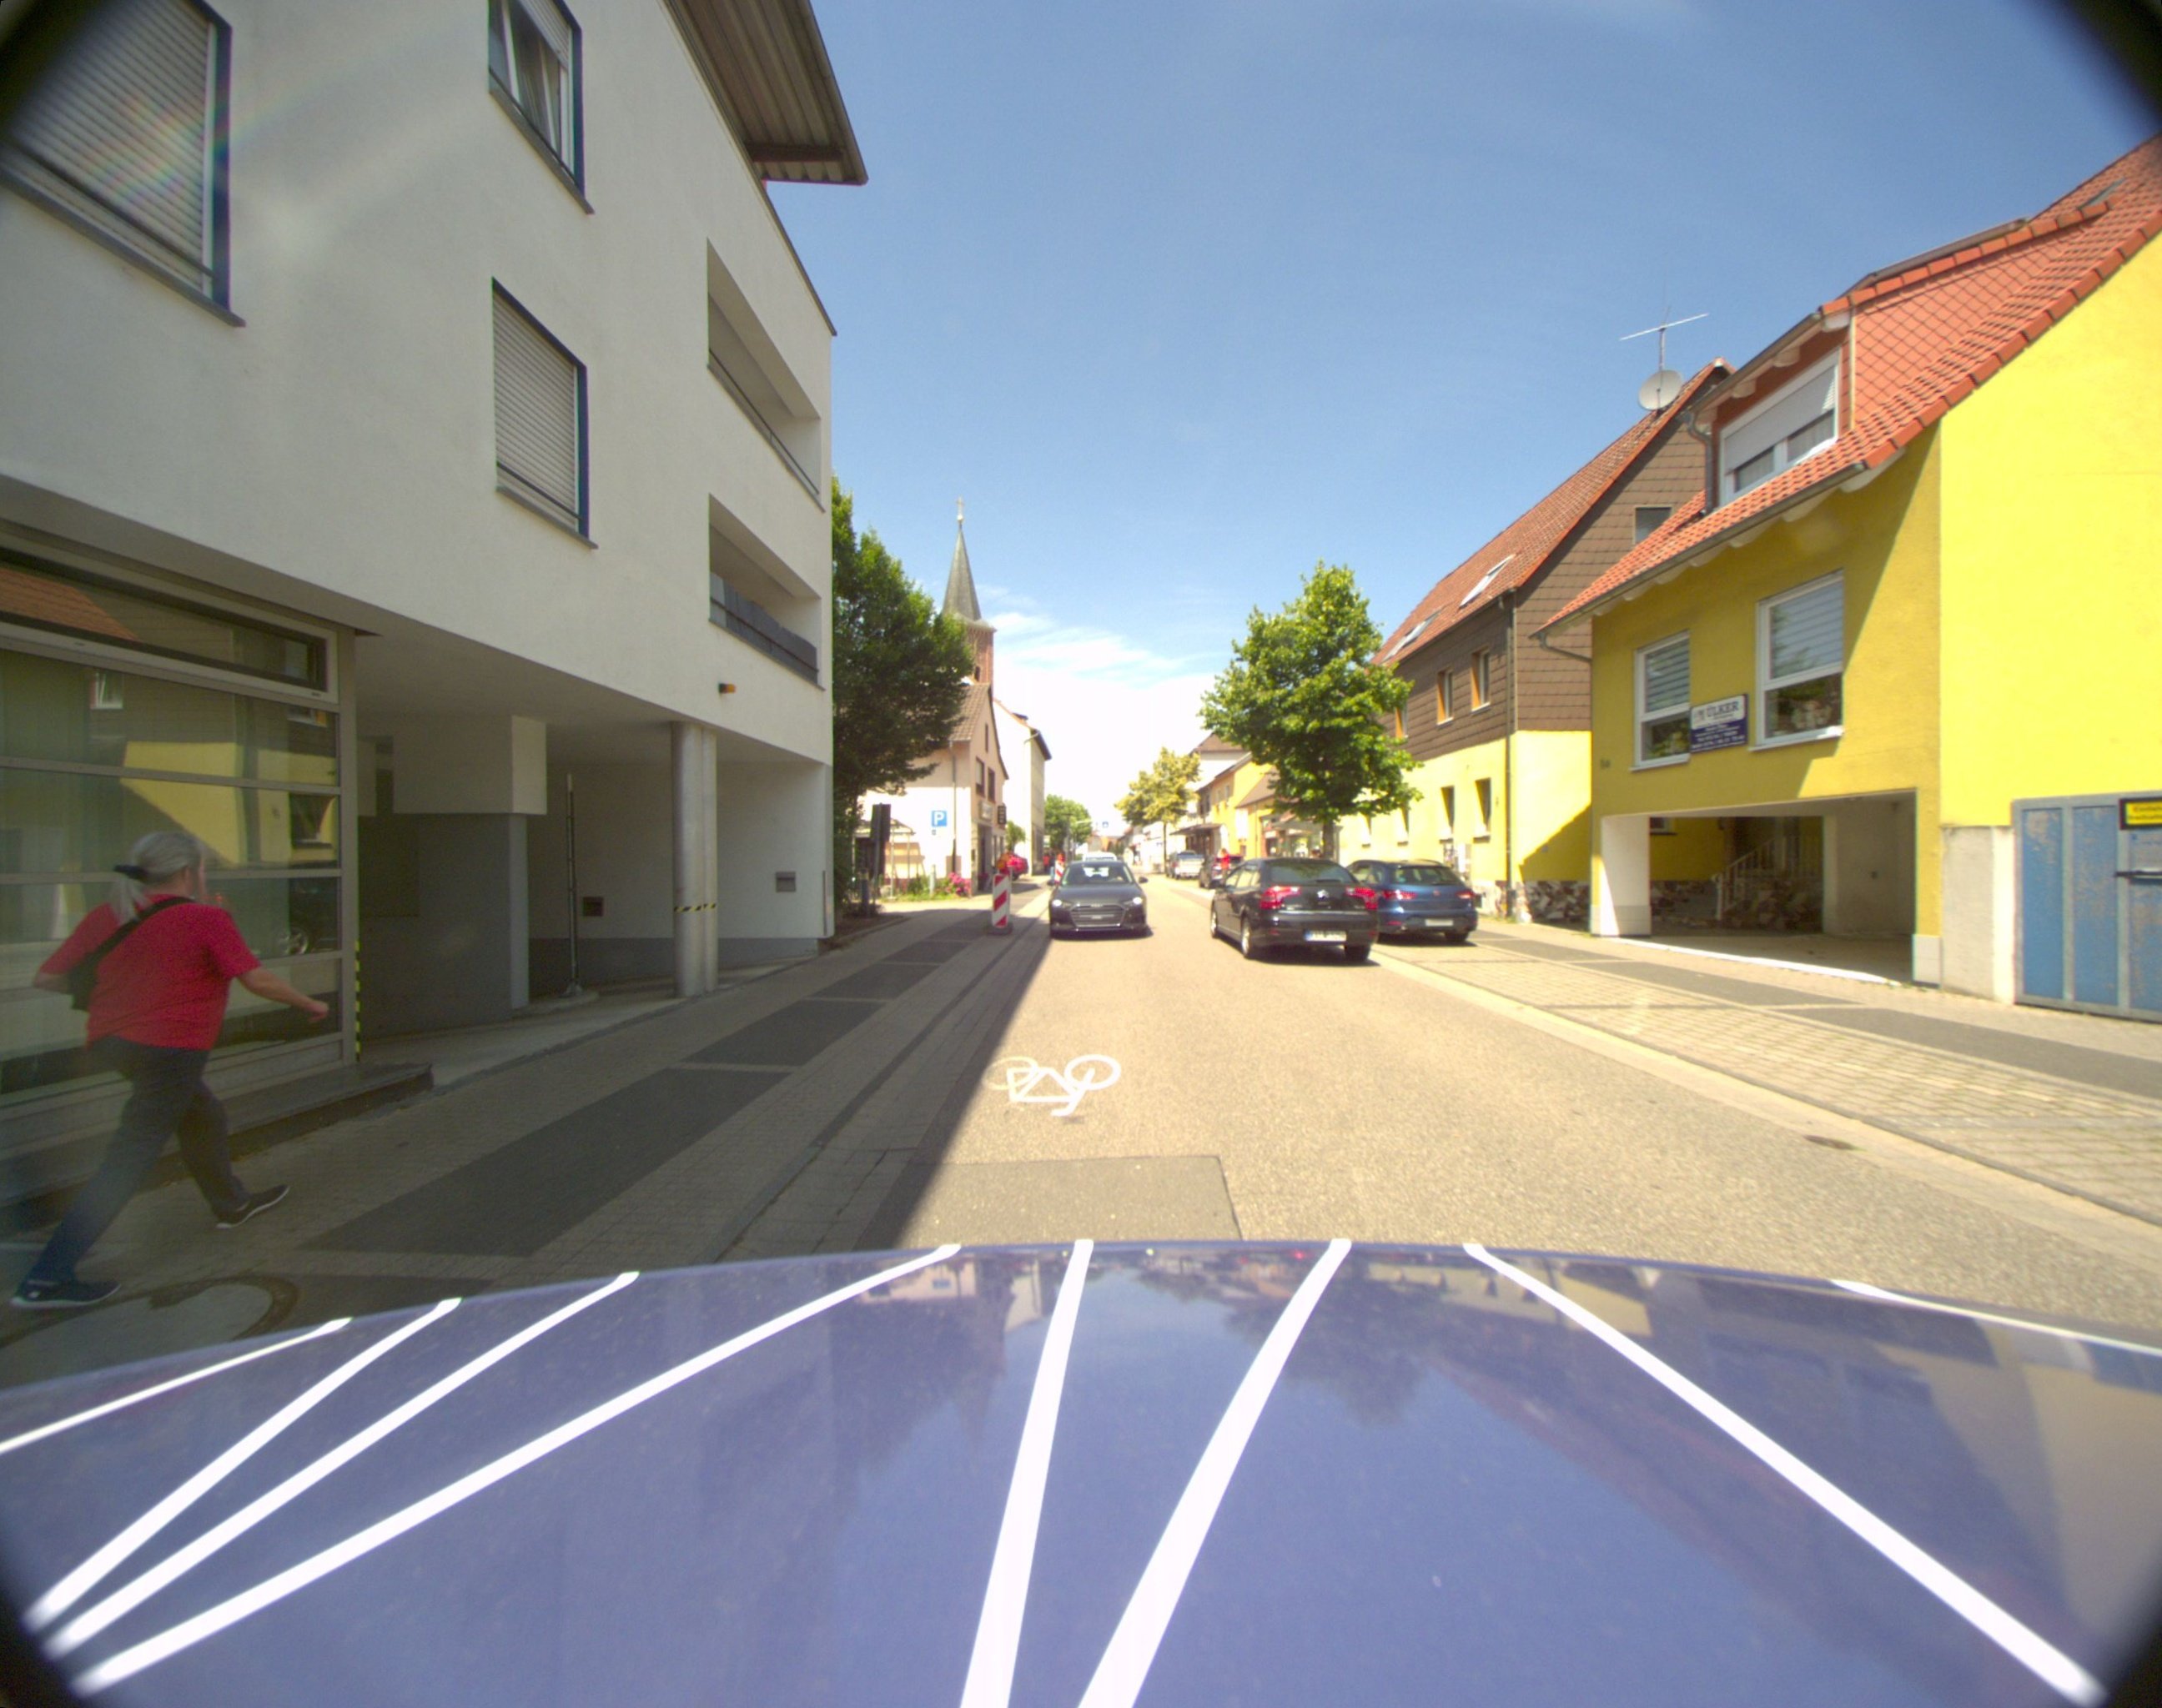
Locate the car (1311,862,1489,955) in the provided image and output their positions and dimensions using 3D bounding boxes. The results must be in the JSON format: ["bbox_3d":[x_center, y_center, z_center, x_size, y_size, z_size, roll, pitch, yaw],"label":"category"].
[{"bbox_3d":[5.672,0.883,14.103,1.660,1.399,4.158,-1,0,2],"label":"car"}]

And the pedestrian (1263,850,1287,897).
[{"bbox_3d":[6.704,0.678,26.280,0.663,1.592,0.771,0,1,2],"label":"pedestrian"}]

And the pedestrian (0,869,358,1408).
[{"bbox_3d":[-3.492,0.869,2.753,0.825,1.579,0.919,2,1,2],"label":"pedestrian"}]

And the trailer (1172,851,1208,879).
[{"bbox_3d":[6.548,0.637,46.038,1.493,1.571,3.883,-3,0,-1],"label":"trailer"}]

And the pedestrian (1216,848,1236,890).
[{"bbox_3d":[5.669,0.582,29.722,0.643,1.645,0.624,0,1,1],"label":"pedestrian"}]

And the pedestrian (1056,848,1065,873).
[{"bbox_3d":[-1.530,0.463,56.627,0.581,1.875,0.695,0,1,3],"label":"pedestrian"}]

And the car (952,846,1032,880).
[{"bbox_3d":[-4.952,0.490,42.781,4.203,1.849,2.000,0,0,1],"label":"car"}]

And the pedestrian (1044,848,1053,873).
[{"bbox_3d":[-2.469,0.478,57.802,0.581,1.875,0.695,0,1,3],"label":"pedestrian"}]

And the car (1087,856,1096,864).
[{"bbox_3d":[2.151,1.265,162.055,1.720,1.577,3.730,-3,0,0],"label":"car"}]

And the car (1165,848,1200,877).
[{"bbox_3d":[6.674,0.557,50.227,1.695,1.742,3.999,-3,0,0],"label":"car"}]

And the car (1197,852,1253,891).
[{"bbox_3d":[6.288,0.721,33.551,1.753,1.566,4.158,-1,0,2],"label":"car"}]

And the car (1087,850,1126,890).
[{"bbox_3d":[1.092,0.658,33.525,1.581,1.620,4.065,0,0,1],"label":"car"}]

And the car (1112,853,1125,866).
[{"bbox_3d":[5.817,0.852,119.304,1.695,1.761,3.999,-4,0,0],"label":"car"}]

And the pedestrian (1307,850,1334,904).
[{"bbox_3d":[7.171,0.686,22.744,0.631,1.592,0.528,0,1,2],"label":"pedestrian"}]

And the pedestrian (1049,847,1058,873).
[{"bbox_3d":[-1.980,0.444,55.427,0.581,1.875,0.695,0,1,3],"label":"pedestrian"}]

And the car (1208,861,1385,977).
[{"bbox_3d":[3.153,0.864,11.923,1.692,1.464,4.000,0,0,1],"label":"car"}]

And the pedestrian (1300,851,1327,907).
[{"bbox_3d":[6.743,0.715,22.070,0.631,1.592,0.528,0,1,2],"label":"pedestrian"}]

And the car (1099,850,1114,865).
[{"bbox_3d":[2.778,0.389,84.200,1.581,1.620,4.065,0,0,1],"label":"car"}]

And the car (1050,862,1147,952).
[{"bbox_3d":[0.330,0.907,14.817,1.581,1.424,4.065,-2,0,1],"label":"car"}]
